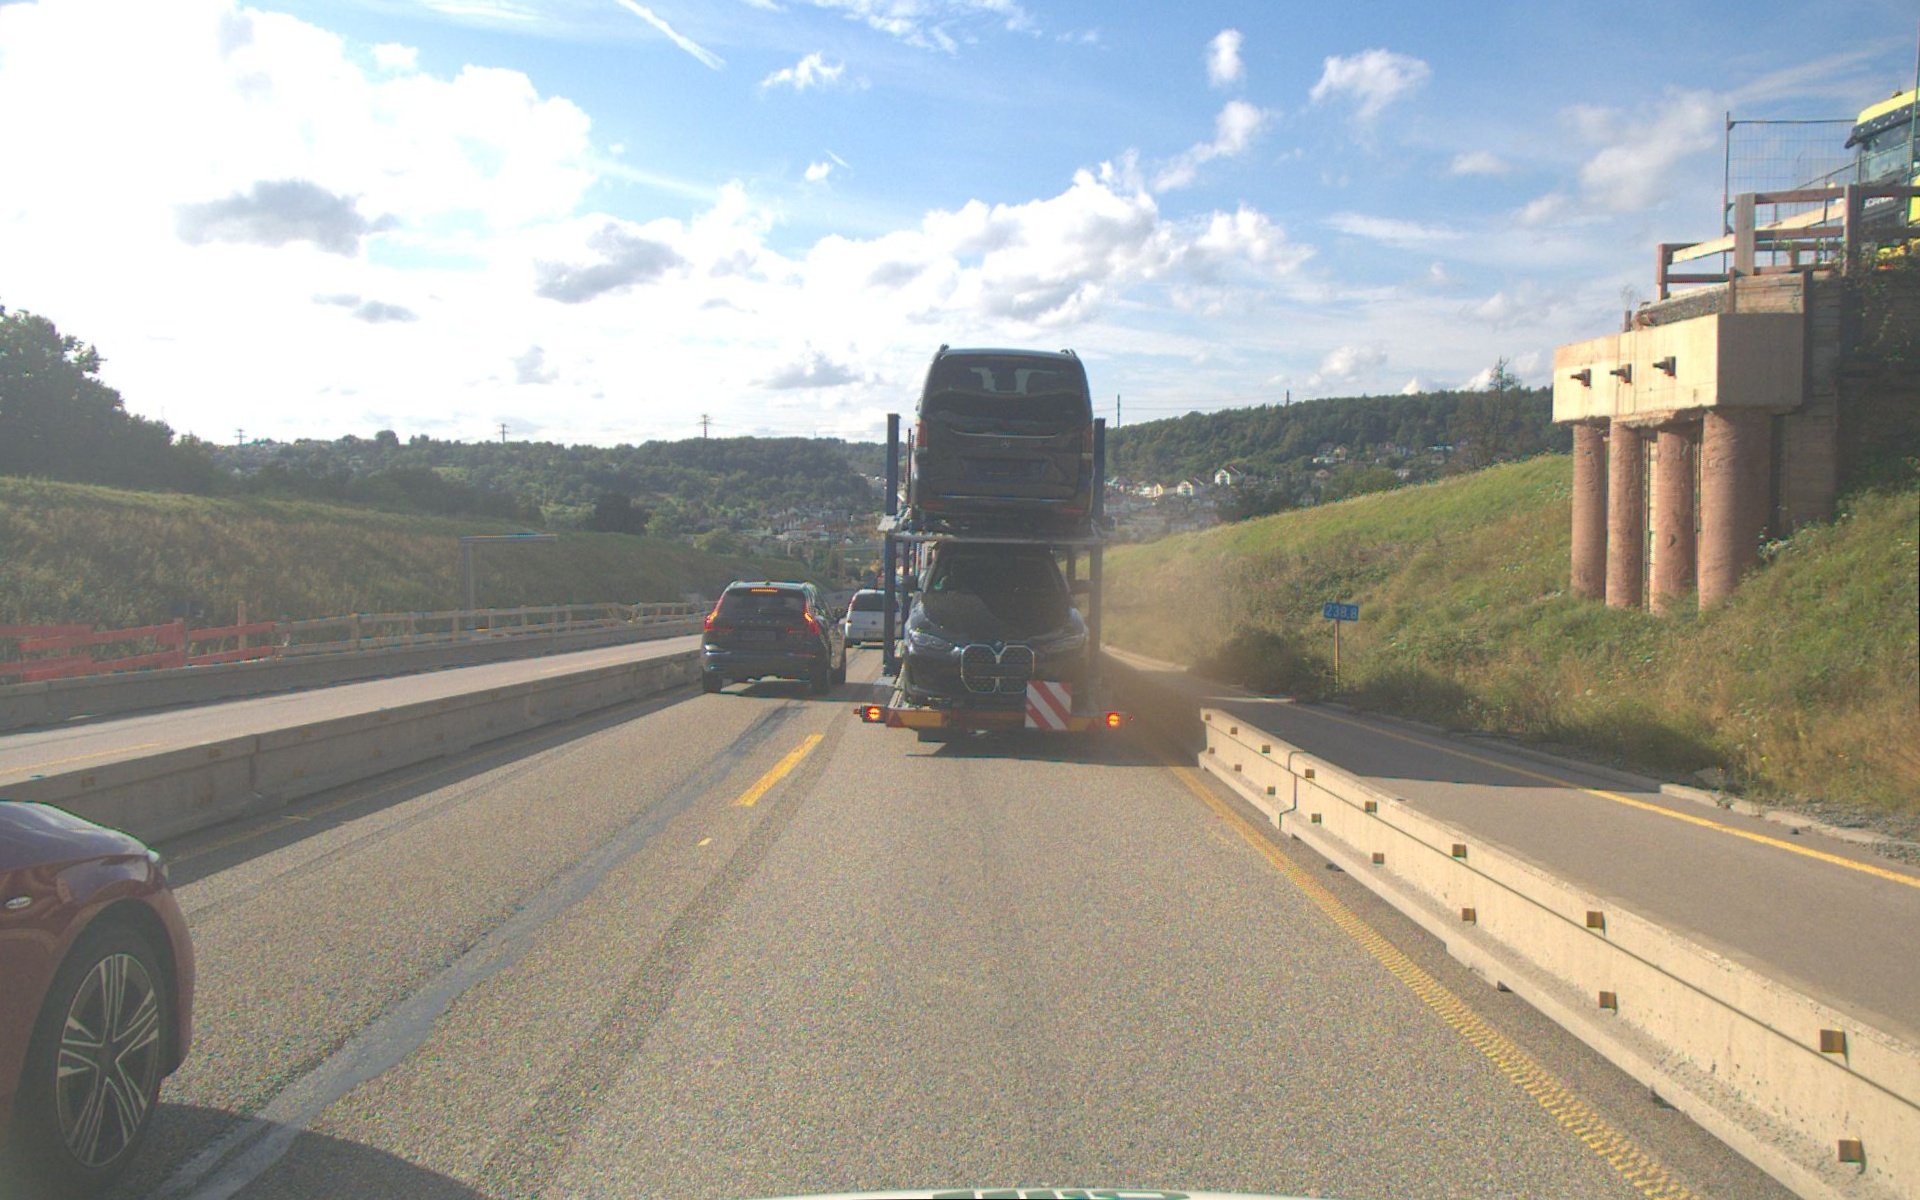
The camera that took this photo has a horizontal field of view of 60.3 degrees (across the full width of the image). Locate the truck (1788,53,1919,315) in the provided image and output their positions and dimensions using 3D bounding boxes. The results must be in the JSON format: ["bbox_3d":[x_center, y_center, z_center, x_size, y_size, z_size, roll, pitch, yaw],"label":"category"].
[{"bbox_3d":[17.985,-6.251,25.453,9.075,3.284,2.959,0,0,-1],"label":"truck"}]

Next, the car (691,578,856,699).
[{"bbox_3d":[-2.791,0.523,25.800,1.953,1.653,4.750,2,0,0],"label":"car"}]

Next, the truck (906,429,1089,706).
[{"bbox_3d":[0.591,-0.483,26.855,2.623,3.990,6.028,0,0,1],"label":"truck"}]

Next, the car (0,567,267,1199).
[{"bbox_3d":[-2.875,0.688,2.422,1.786,1.518,4.684,1,1,-1],"label":"car"}]

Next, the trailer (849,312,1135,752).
[{"bbox_3d":[0.452,-0.660,21.123,2.652,4.099,11.421,0,0,2],"label":"trailer"}]

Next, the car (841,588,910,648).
[{"bbox_3d":[-2.386,0.469,47.635,1.760,1.624,4.742,1,0,-1],"label":"car"}]

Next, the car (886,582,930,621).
[{"bbox_3d":[-2.174,0.049,69.072,1.760,1.557,4.294,0,1,-2],"label":"car"}]

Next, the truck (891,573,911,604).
[{"bbox_3d":[-8.097,-1.586,226.599,2.561,4.226,5.781,0,0,0],"label":"truck"}]
